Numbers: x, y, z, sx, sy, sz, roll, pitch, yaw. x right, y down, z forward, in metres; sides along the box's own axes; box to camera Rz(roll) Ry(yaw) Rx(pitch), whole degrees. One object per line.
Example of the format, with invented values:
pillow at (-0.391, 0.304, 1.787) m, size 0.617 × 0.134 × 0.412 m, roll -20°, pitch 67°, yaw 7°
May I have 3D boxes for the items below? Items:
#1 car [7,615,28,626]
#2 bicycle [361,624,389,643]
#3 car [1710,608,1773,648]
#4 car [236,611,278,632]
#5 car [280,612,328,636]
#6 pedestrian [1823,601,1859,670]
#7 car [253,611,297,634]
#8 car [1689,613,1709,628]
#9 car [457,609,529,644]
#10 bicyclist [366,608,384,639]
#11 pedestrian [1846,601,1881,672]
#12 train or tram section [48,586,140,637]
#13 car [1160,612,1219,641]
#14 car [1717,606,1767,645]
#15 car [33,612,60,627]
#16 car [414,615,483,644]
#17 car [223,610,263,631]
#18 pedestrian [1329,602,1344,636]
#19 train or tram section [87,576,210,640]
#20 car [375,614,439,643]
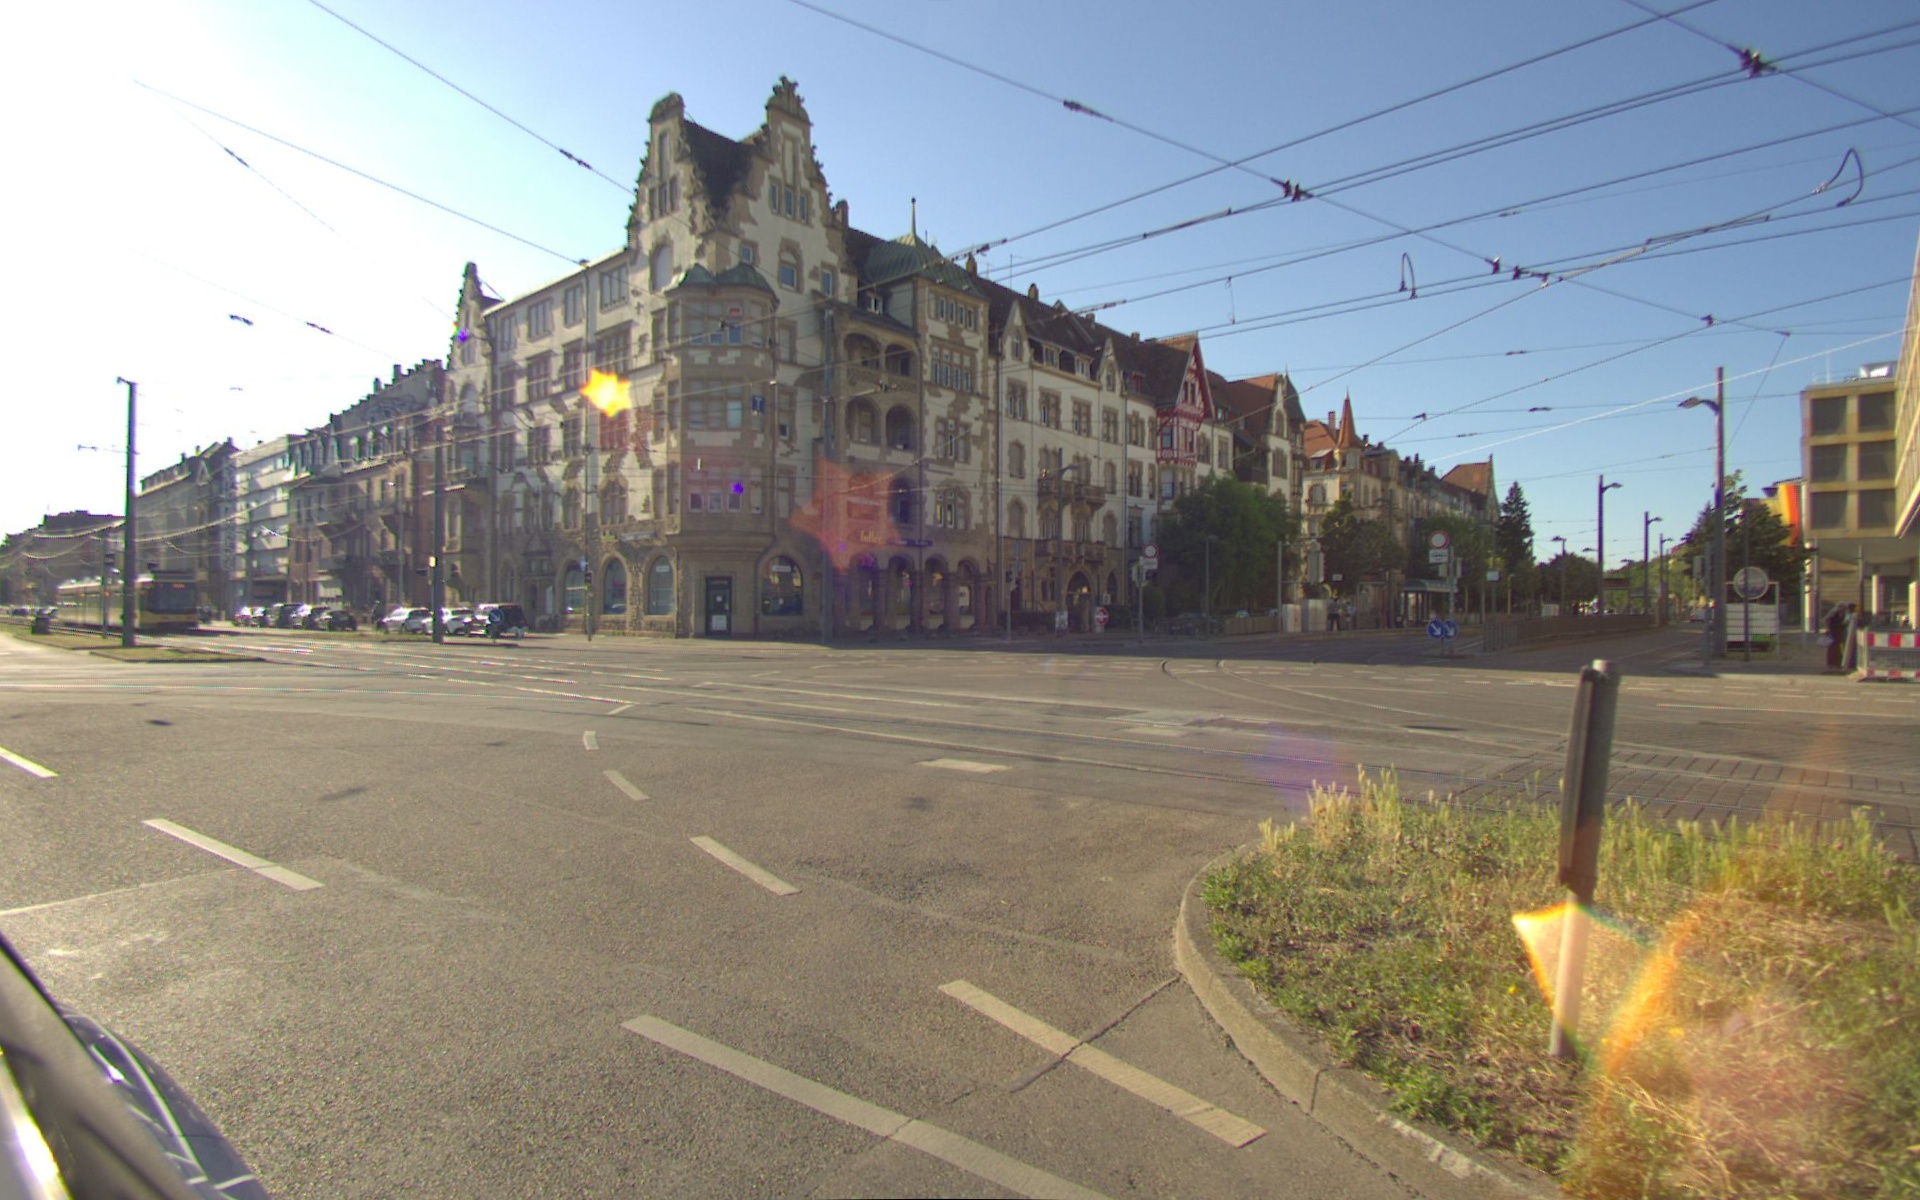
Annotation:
car at (-136.291, 2.967, 146.375) m, size 3.997 × 1.682 × 1.758 m, roll -1°, pitch -1°, yaw 40°
bicycle at (-31.503, 1.801, 54.489) m, size 2.067 × 1.010 × 0.600 m, roll -1°, pitch -1°, yaw 40°
car at (31.196, 1.089, 40.359) m, size 1.889 × 1.475 × 3.947 m, roll -1°, pitch -1°, yaw 39°
car at (-53.062, 1.595, 76.358) m, size 3.999 × 1.536 × 1.718 m, roll -1°, pitch 0°, yaw 42°
car at (-44.538, 1.594, 68.712) m, size 3.999 × 1.536 × 1.718 m, roll -1°, pitch 0°, yaw 42°
pedestrian at (22.177, 0.886, 25.483) m, size 0.639 × 1.695 × 0.609 m, roll -1°, pitch -1°, yaw 39°
car at (-49.216, 1.595, 72.713) m, size 3.999 × 1.536 × 1.718 m, roll -1°, pitch 0°, yaw 42°
car at (101.211, 2.803, 138.638) m, size 1.998 × 2.029 × 3.947 m, roll -1°, pitch -1°, yaw 39°
car at (-23.408, 1.300, 50.655) m, size 3.997 × 1.682 × 1.758 m, roll -1°, pitch -1°, yaw 40°
bicyclist at (-31.526, 1.259, 54.502) m, size 0.630 × 1.631 × 0.675 m, roll -1°, pitch -1°, yaw 41°
pedestrian at (22.012, 0.874, 24.668) m, size 0.582 × 1.695 × 0.609 m, roll -1°, pitch -1°, yaw 40°
train or tram section at (-64.528, 0.815, 75.112) m, size 19.468 × 3.424 × 2.745 m, roll 0°, pitch 0°, yaw 42°
car at (12.993, 1.481, 57.163) m, size 1.725 × 1.586 × 3.948 m, roll -1°, pitch -1°, yaw 39°
car at (34.755, 1.110, 44.938) m, size 1.648 × 1.674 × 3.602 m, roll -1°, pitch -1°, yaw 39°
car at (-104.411, 2.228, 115.684) m, size 3.997 × 1.682 × 1.758 m, roll -1°, pitch -1°, yaw 40°
car at (-27.393, 1.538, 54.146) m, size 4.428 × 1.487 × 1.706 m, roll -1°, pitch -1°, yaw 39°
car at (-56.407, 1.594, 79.549) m, size 3.999 × 1.536 × 1.718 m, roll -1°, pitch 0°, yaw 42°
pedestrian at (19.185, 0.965, 51.556) m, size 0.576 × 1.695 × 0.615 m, roll 0°, pitch -1°, yaw 9°
train or tram section at (-50.102, 0.604, 62.060) m, size 19.468 × 3.424 × 2.745 m, roll -1°, pitch -1°, yaw 42°
car at (-31.507, 1.592, 57.643) m, size 3.993 × 1.536 × 1.721 m, roll -1°, pitch 0°, yaw 37°
